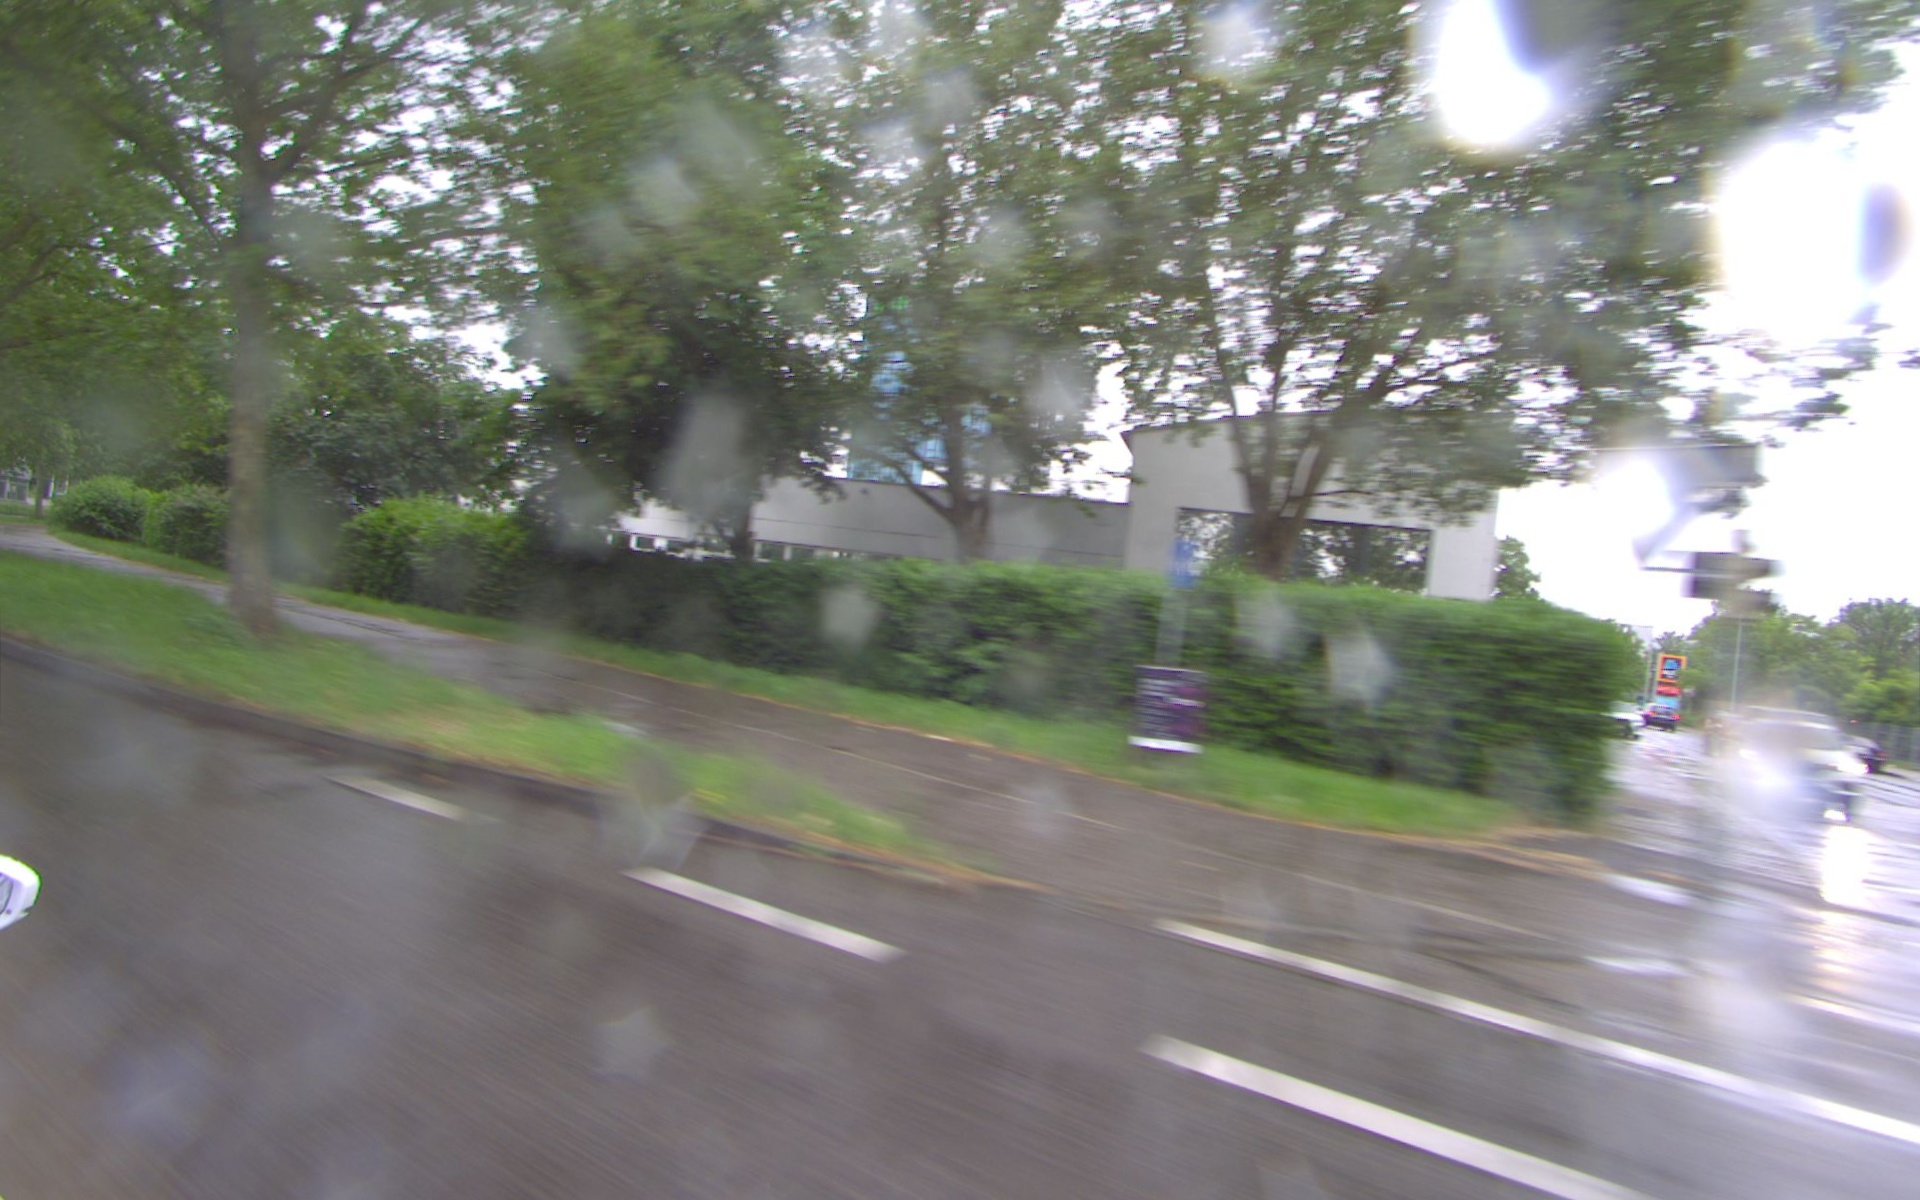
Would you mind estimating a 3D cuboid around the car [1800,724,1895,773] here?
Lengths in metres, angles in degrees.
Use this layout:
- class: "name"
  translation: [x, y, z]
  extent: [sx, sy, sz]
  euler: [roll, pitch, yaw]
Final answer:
- class: "car"
  translation: [37.363, 6.197, 42.470]
  extent: [1.717, 1.477, 4.036]
  euler: [6, 0, 23]

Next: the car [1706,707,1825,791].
- class: "car"
  translation: [20.364, 3.703, 25.607]
  extent: [1.797, 1.610, 4.295]
  euler: [6, 0, 33]

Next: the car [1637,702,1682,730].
- class: "car"
  translation: [46.737, 7.741, 67.286]
  extent: [1.869, 1.445, 4.852]
  euler: [7, -1, 30]

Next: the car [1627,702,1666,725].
- class: "car"
  translation: [56.146, 9.256, 82.349]
  extent: [1.717, 1.477, 4.036]
  euler: [6, 0, 23]

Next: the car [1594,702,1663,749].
- class: "car"
  translation: [30.364, 5.659, 45.787]
  extent: [1.793, 1.610, 4.303]
  euler: [6, 0, 25]

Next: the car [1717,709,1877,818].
- class: "car"
  translation: [16.779, 3.191, 20.386]
  extent: [1.858, 1.610, 4.295]
  euler: [6, 0, 33]

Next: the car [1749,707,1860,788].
- class: "car"
  translation: [24.532, 4.215, 29.376]
  extent: [1.797, 1.819, 4.472]
  euler: [6, 0, 33]

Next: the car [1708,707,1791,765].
- class: "car"
  translation: [28.115, 4.785, 35.948]
  extent: [1.797, 1.610, 4.295]
  euler: [6, 0, 33]
